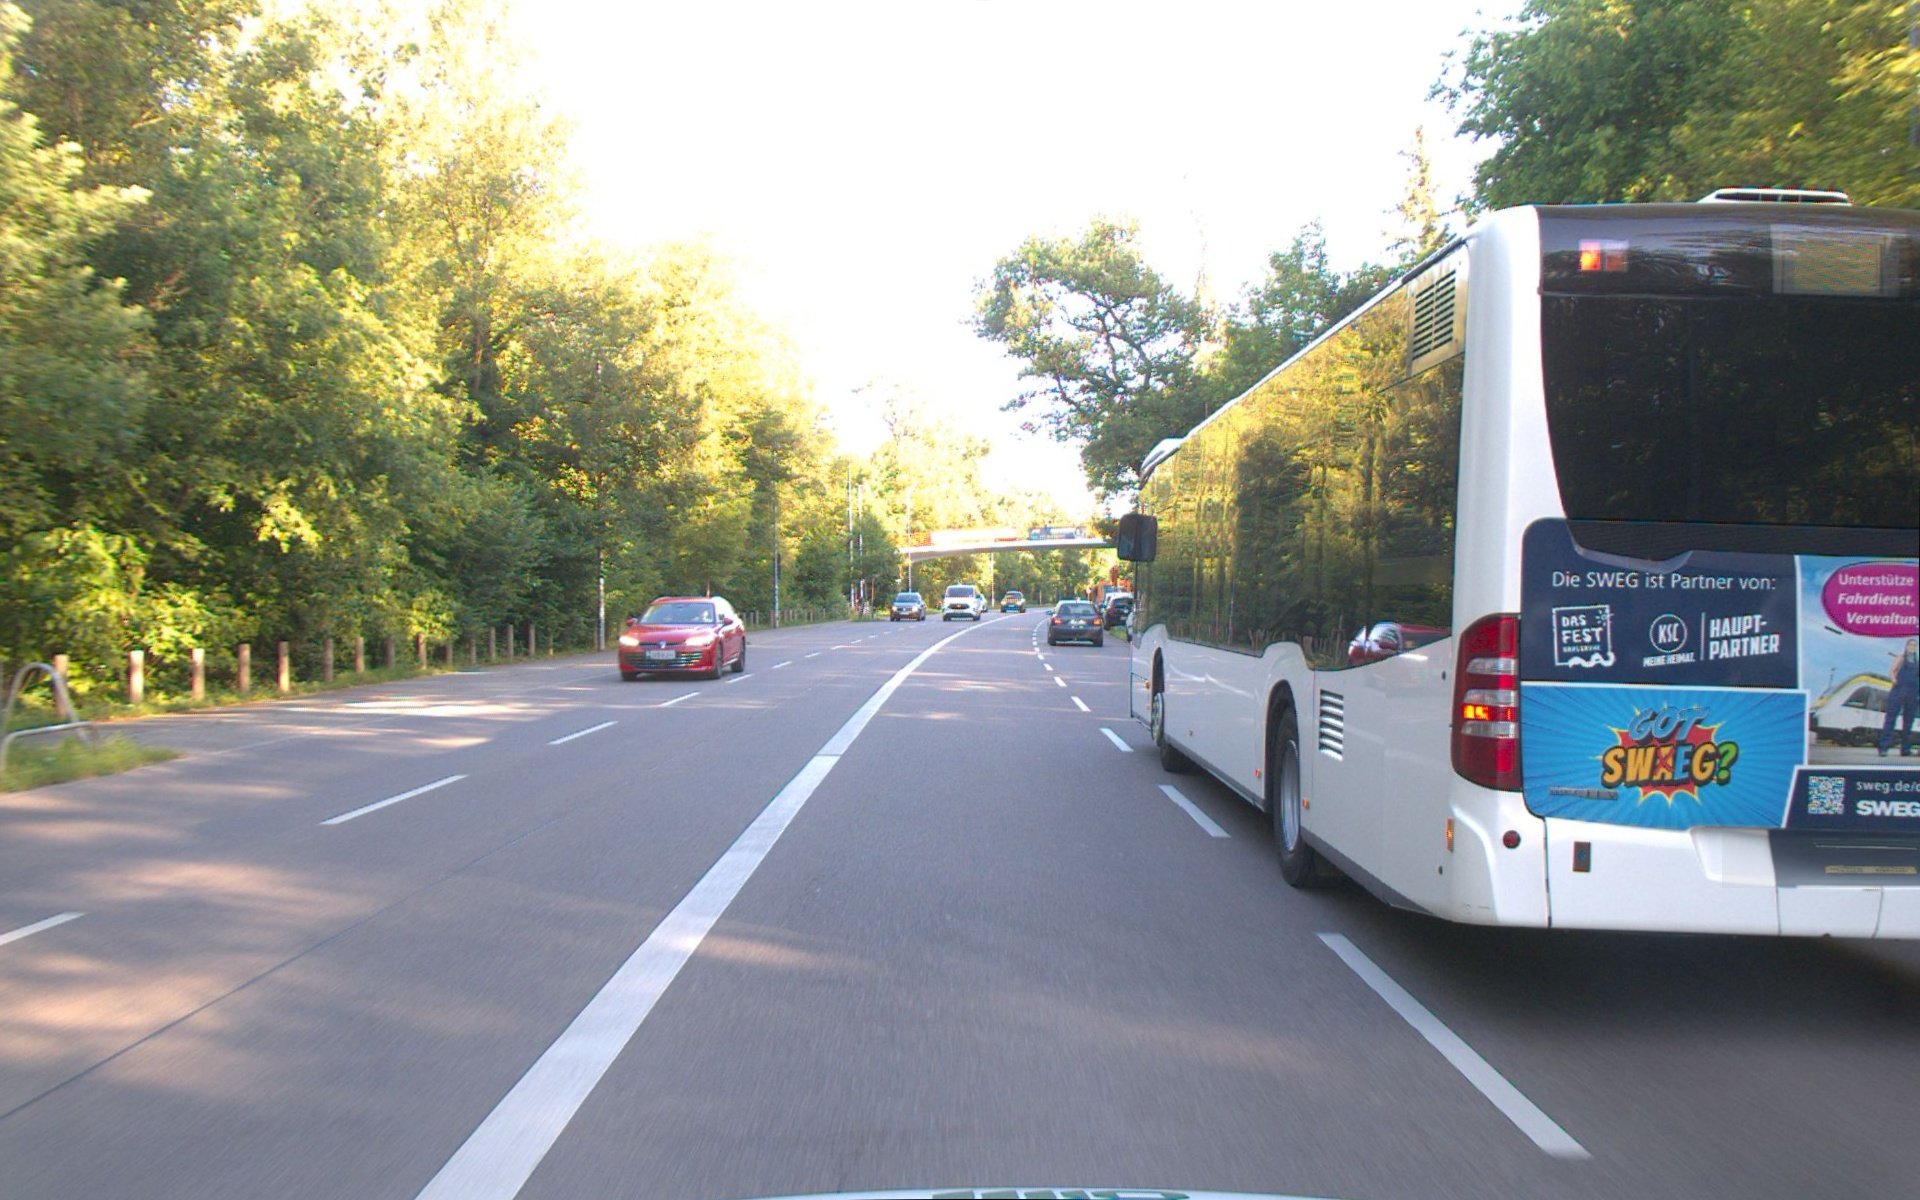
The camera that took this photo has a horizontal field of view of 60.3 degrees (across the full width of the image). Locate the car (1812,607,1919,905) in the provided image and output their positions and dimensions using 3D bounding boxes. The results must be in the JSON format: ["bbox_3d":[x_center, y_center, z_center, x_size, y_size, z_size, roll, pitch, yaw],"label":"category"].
[{"bbox_3d":[5.822,0.768,7.116,1.816,1.481,4.461,-3,0,-2],"label":"car"}]

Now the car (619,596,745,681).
[{"bbox_3d":[-5.204,0.669,31.547,1.787,1.488,4.922,0,0,-3],"label":"car"}]

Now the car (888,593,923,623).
[{"bbox_3d":[-3.101,0.448,94.371,1.763,1.627,4.001,1,0,1],"label":"car"}]

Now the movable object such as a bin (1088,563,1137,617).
[{"bbox_3d":[10.103,-0.671,109.953,2.701,3.429,7.601,-1,0,1],"label":"movable object such as a bin"}]

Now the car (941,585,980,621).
[{"bbox_3d":[0.038,0.179,94.987,2.161,1.995,4.913,0,0,1],"label":"car"}]

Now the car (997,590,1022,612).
[{"bbox_3d":[4.125,0.084,136.506,1.878,1.734,4.444,0,0,4],"label":"car"}]

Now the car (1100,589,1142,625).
[{"bbox_3d":[7.314,0.298,75.421,1.692,1.551,4.091,-1,0,2],"label":"car"}]

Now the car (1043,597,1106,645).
[{"bbox_3d":[3.612,0.628,52.779,1.692,1.467,4.089,0,0,-1],"label":"car"}]

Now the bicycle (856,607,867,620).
[{"bbox_3d":[-6.178,0.844,103.992,0.484,0.828,1.809,1,1,3],"label":"bicycle"}]

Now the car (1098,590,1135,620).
[{"bbox_3d":[8.553,0.280,90.794,1.800,1.601,4.461,0,0,2],"label":"car"}]

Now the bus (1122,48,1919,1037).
[{"bbox_3d":[3.018,-0.195,11.625,2.648,3.278,12.279,0,0,0],"label":"bus"}]

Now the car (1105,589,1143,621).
[{"bbox_3d":[8.461,0.247,85.663,1.692,1.569,4.091,0,0,2],"label":"car"}]
